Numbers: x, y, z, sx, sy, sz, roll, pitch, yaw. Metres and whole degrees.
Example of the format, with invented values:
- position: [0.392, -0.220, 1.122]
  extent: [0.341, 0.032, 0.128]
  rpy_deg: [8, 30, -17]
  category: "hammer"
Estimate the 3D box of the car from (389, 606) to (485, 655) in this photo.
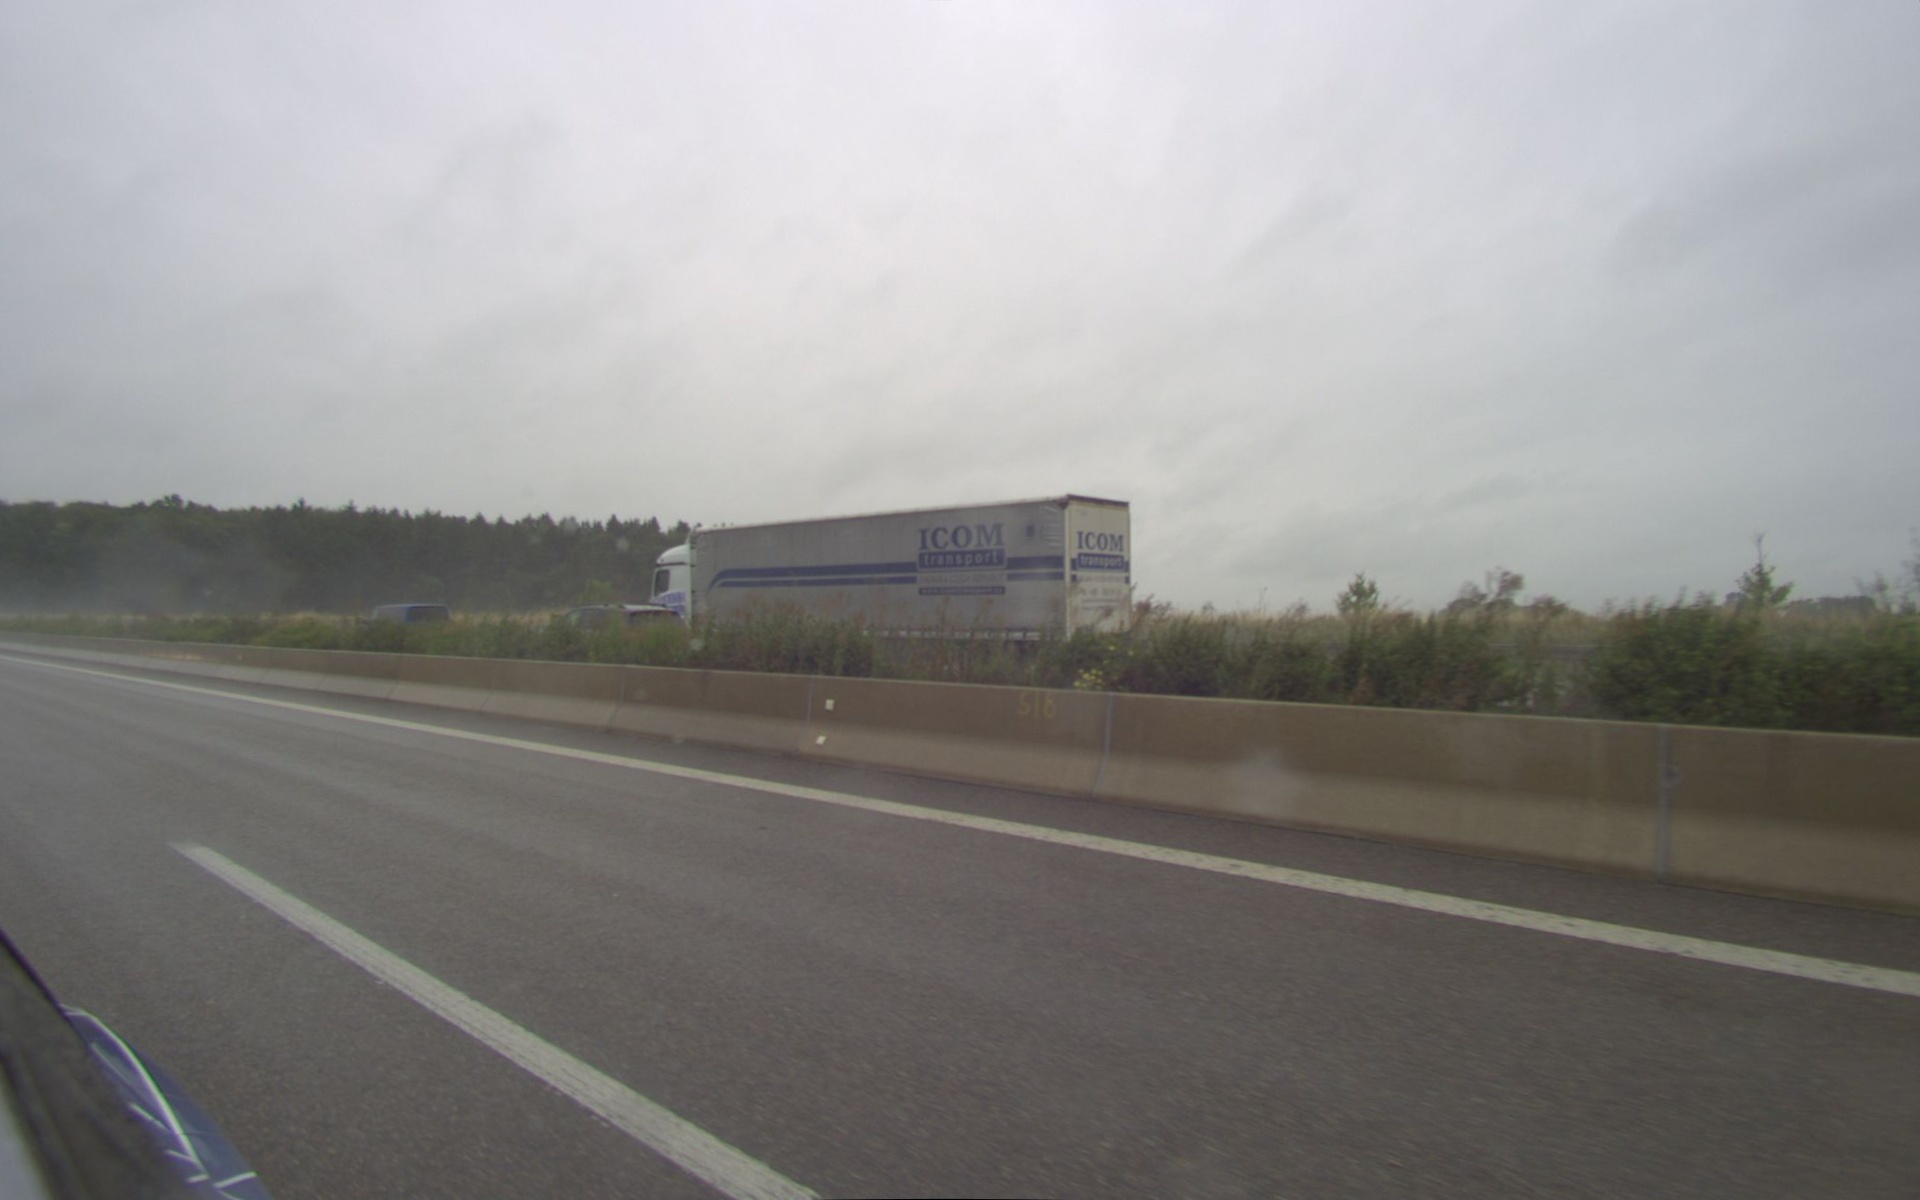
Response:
- position: [-19.440, 1.092, 37.552]
  extent: [3.998, 1.696, 1.815]
  rpy_deg: [-1, 0, 41]
  category: "car"

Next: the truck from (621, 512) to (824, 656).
- position: [-7.516, -0.444, 31.668]
  extent: [5.970, 4.056, 3.292]
  rpy_deg: [-1, 0, 41]
  category: "truck"

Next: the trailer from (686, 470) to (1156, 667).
- position: [-1.814, -0.542, 26.646]
  extent: [13.882, 4.049, 3.350]
  rpy_deg: [-1, -1, 41]
  category: "trailer"
